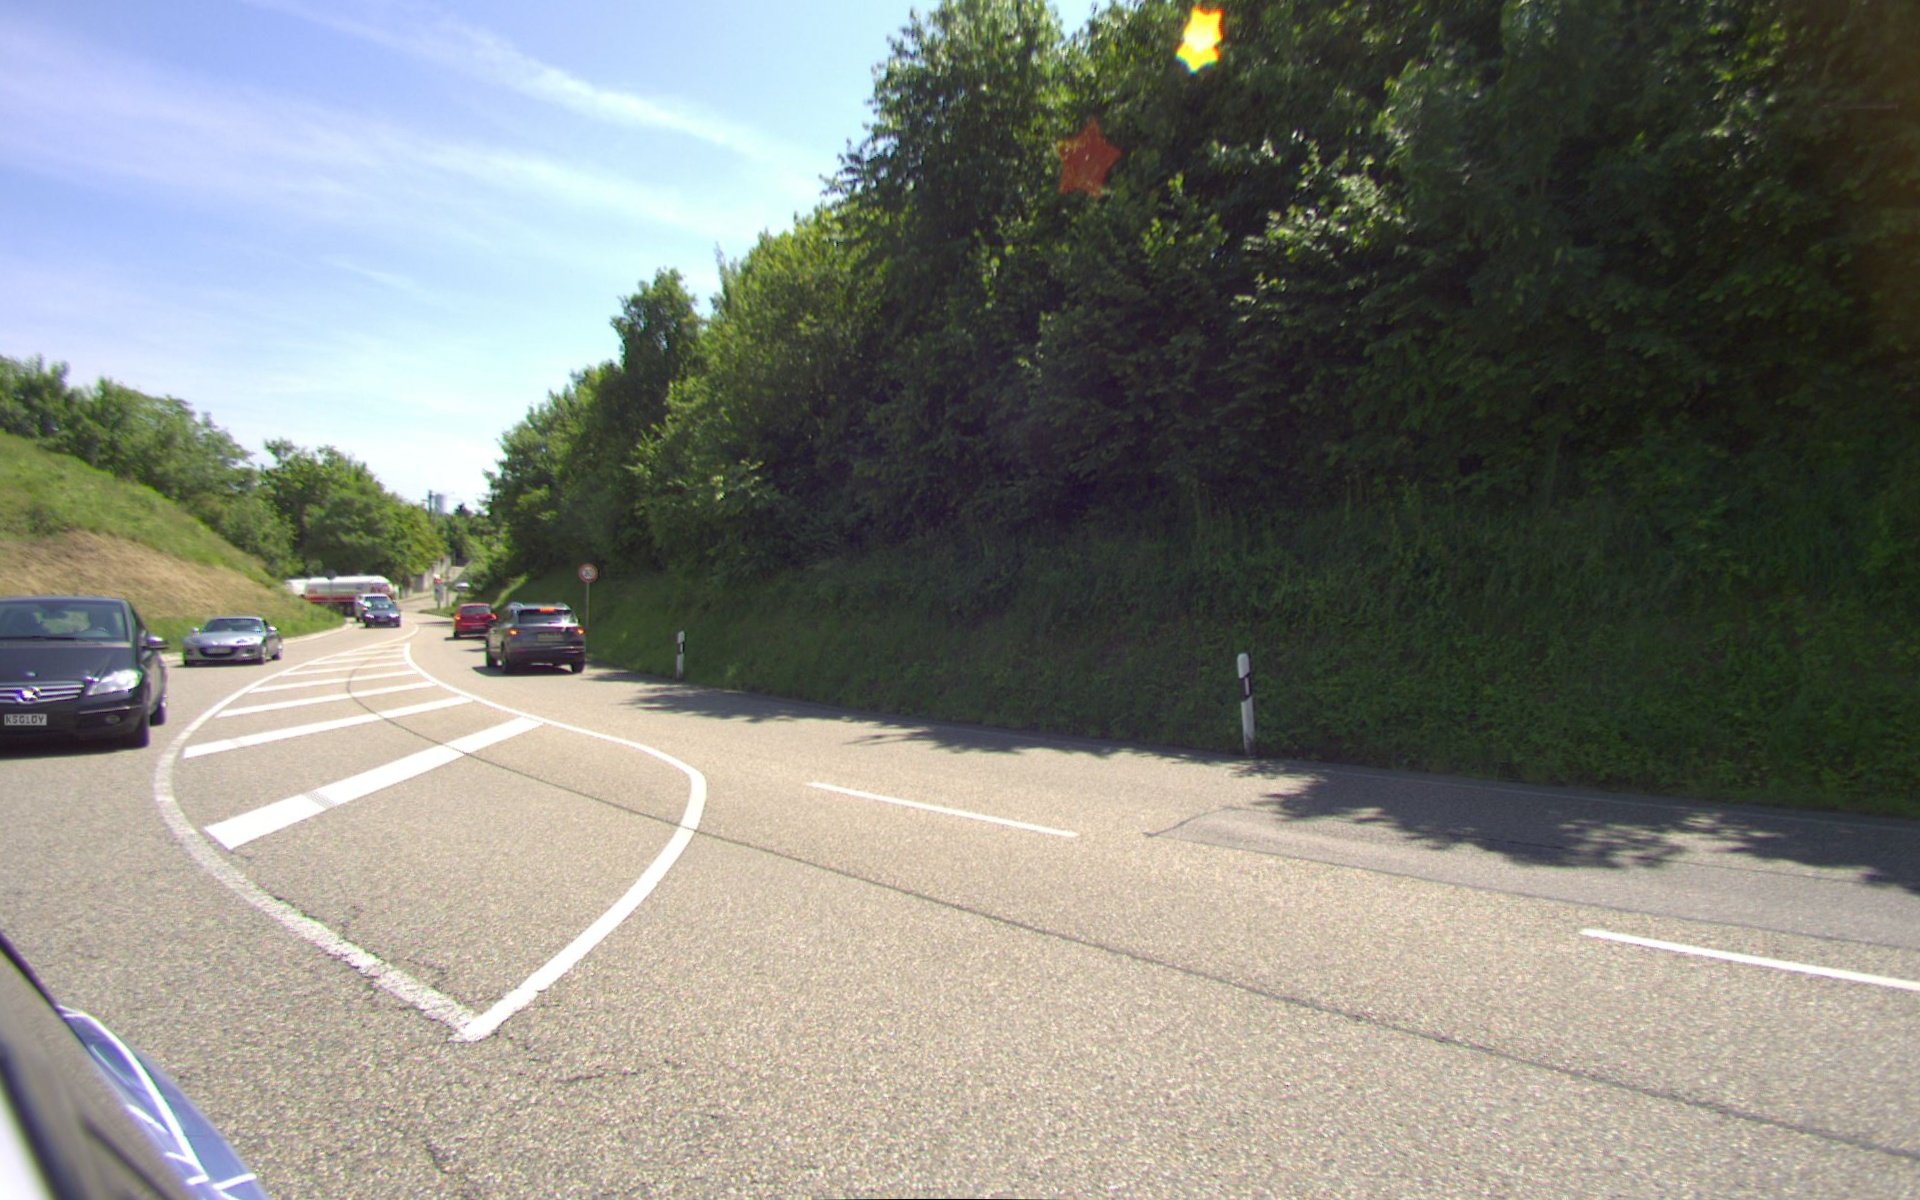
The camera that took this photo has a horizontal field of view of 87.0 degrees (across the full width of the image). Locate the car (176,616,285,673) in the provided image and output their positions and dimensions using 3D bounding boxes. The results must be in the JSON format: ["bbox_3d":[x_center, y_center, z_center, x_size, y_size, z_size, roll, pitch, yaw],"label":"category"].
[{"bbox_3d":[-19.104,1.114,26.640,1.620,1.332,3.449,-1,0,-23],"label":"car"}]

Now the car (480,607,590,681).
[{"bbox_3d":[-10.345,0.993,24.455,1.766,1.617,4.192,1,-1,-32],"label":"car"}]

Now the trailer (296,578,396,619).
[{"bbox_3d":[-53.962,-0.158,88.756,11.102,3.398,2.614,0,1,31],"label":"trailer"}]

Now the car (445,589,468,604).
[{"bbox_3d":[-63.204,-0.472,127.153,1.966,1.517,4.014,-2,5,-18],"label":"car"}]

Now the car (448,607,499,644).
[{"bbox_3d":[-20.477,1.046,42.517,1.725,1.459,4.013,1,-1,-28],"label":"car"}]

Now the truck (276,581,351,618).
[{"bbox_3d":[-58.381,-0.081,91.358,7.035,3.194,2.610,0,1,28],"label":"truck"}]

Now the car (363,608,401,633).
[{"bbox_3d":[-32.943,1.152,57.741,1.726,1.298,4.159,-2,0,-28],"label":"car"}]

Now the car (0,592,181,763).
[{"bbox_3d":[-9.878,0.747,11.142,1.767,1.591,3.810,2,-2,-34],"label":"car"}]

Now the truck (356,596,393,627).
[{"bbox_3d":[-41.079,0.770,70.960,2.038,2.028,5.260,-1,1,-32],"label":"truck"}]
